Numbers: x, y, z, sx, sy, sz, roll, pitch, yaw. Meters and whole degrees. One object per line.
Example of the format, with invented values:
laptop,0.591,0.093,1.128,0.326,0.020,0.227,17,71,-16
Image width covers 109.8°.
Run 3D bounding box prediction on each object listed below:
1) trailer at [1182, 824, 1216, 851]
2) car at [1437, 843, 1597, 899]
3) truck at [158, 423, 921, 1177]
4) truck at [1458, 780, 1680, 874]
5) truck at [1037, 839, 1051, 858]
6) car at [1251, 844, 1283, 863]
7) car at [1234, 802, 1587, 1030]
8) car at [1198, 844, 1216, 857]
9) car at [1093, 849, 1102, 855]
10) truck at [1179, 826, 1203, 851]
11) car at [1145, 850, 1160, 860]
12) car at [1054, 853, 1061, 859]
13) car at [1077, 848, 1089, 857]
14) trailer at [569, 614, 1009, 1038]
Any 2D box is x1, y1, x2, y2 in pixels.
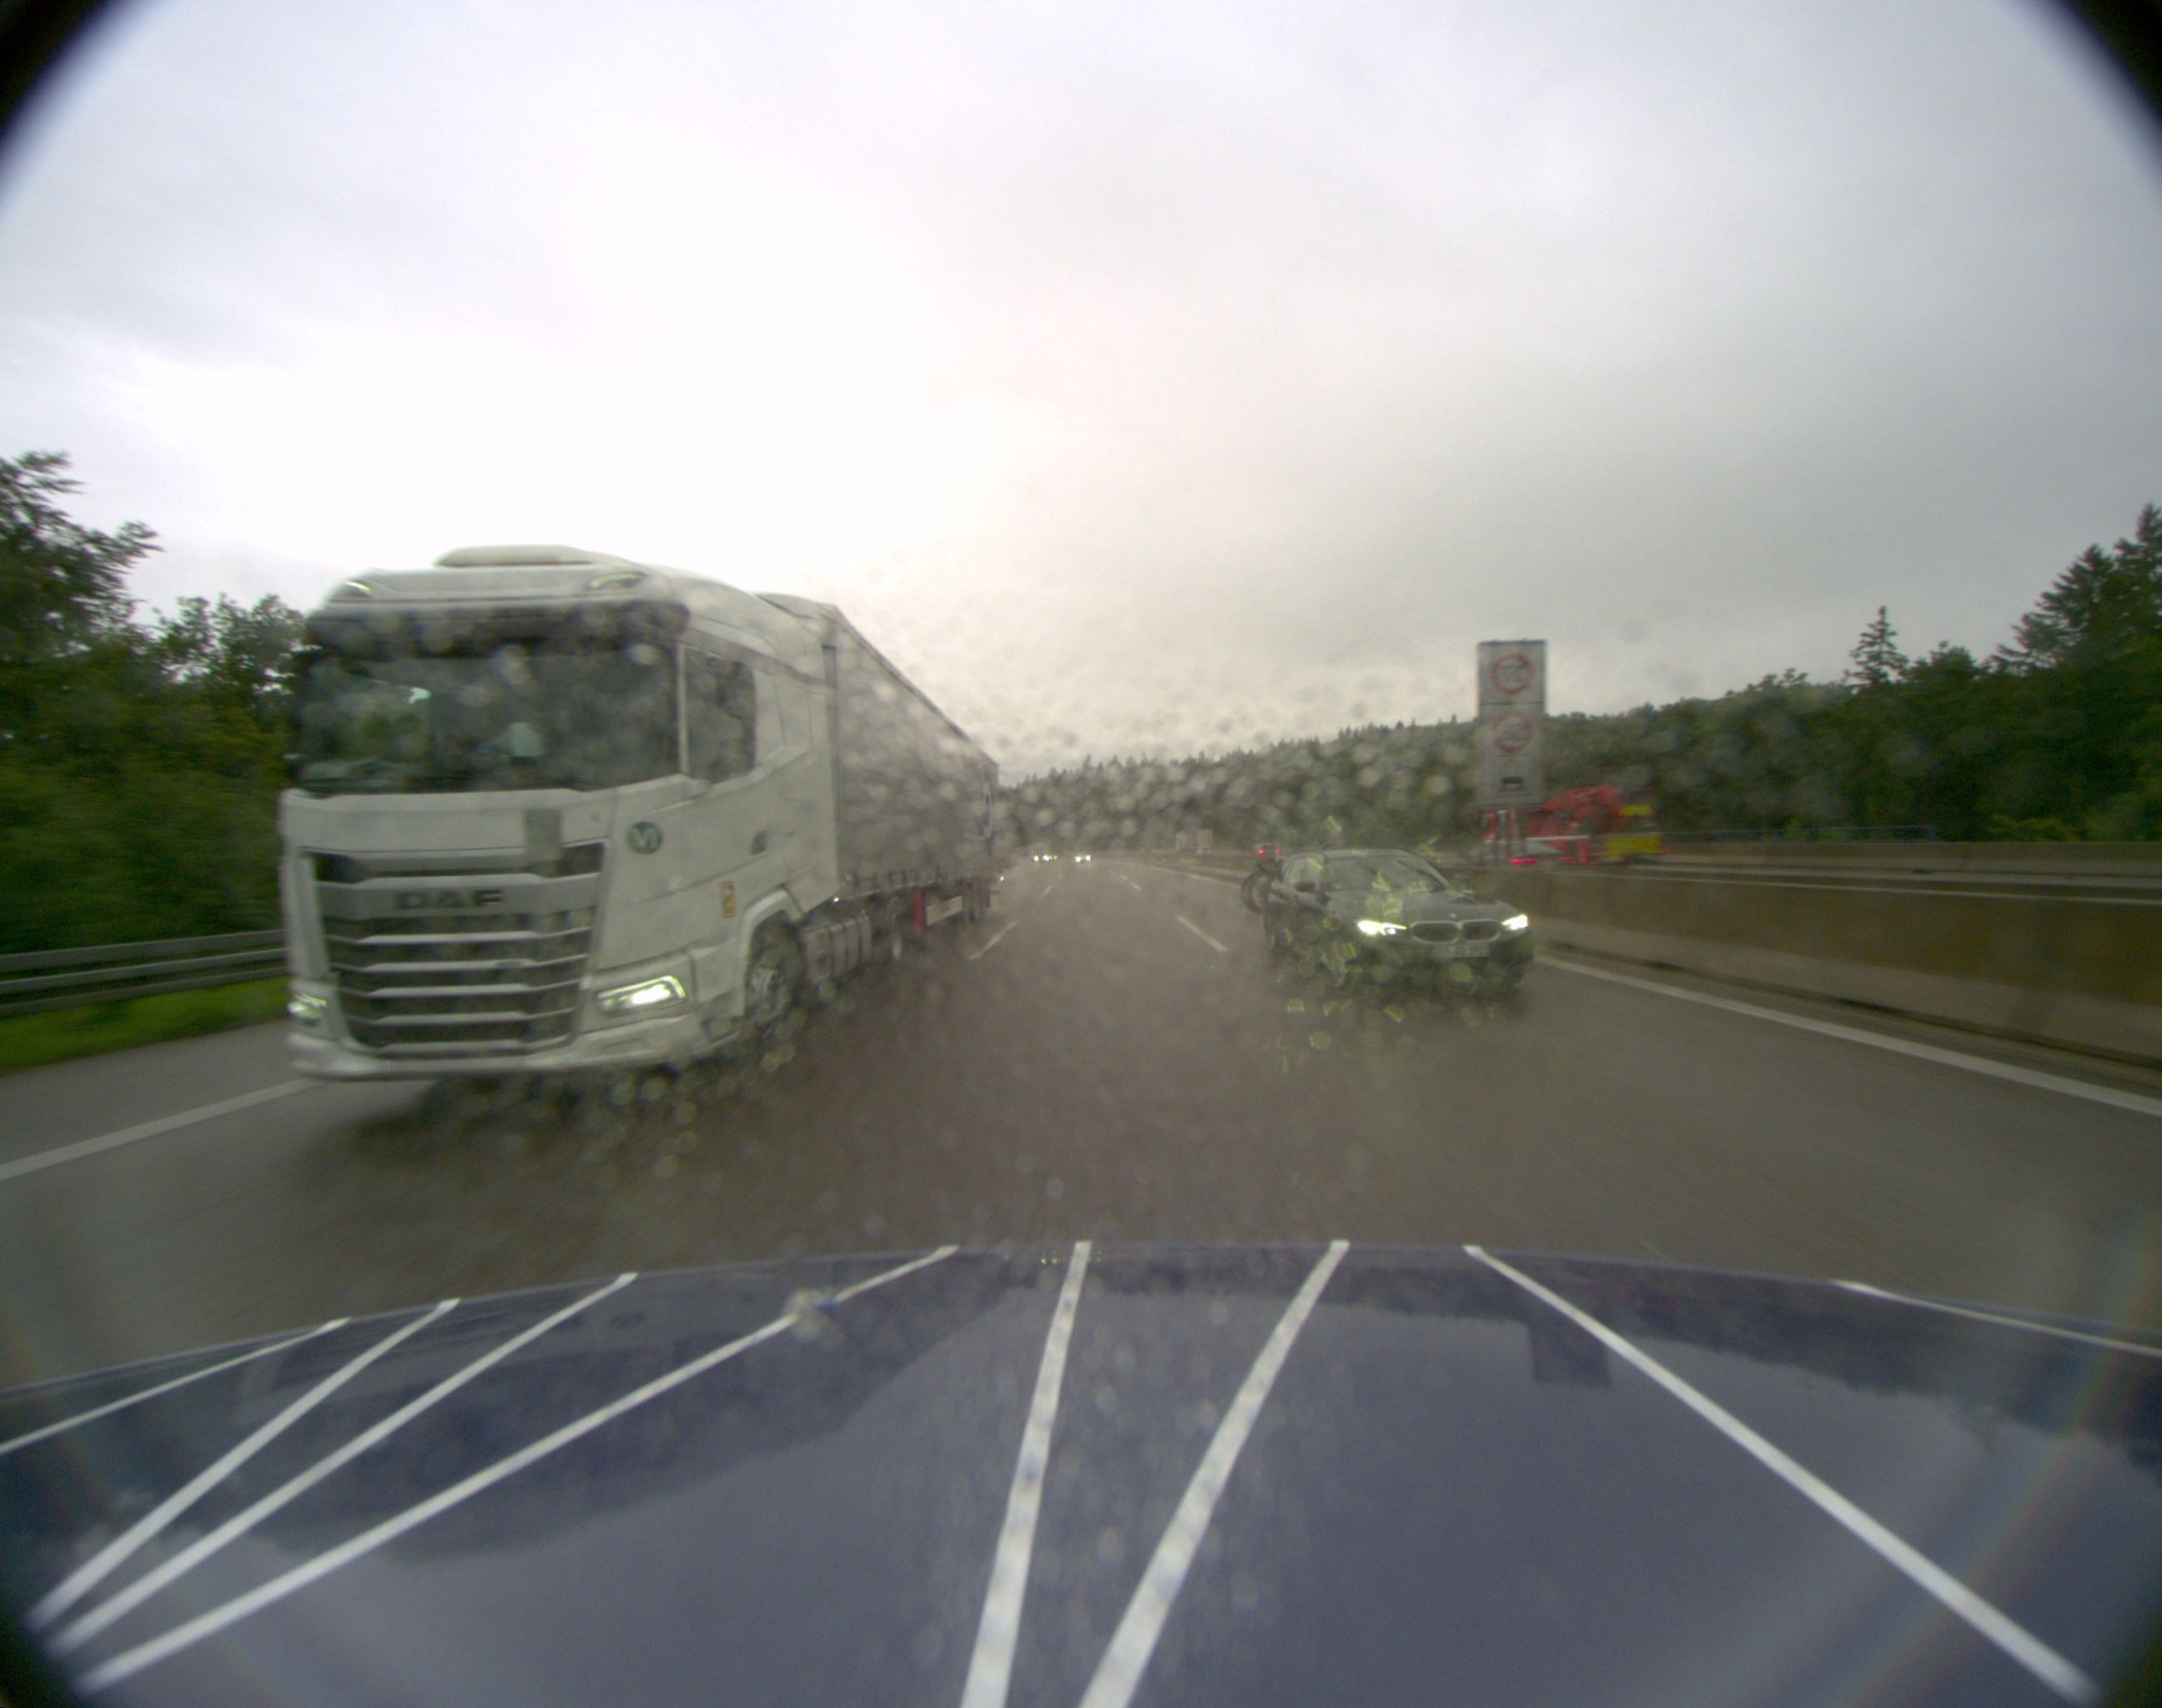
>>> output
trailer,18.668,-2.510,121.303,2.954,4.009,13.785,-3,0,-1
car,12.517,0.431,22.257,1.998,1.382,4.751,-2,0,1
truck,-3.540,-0.296,7.013,2.728,4.018,5.752,-2,1,0
truck,19.409,-0.960,31.443,2.438,3.156,10.661,-2,0,1
truck,-8.185,-1.151,167.326,2.738,4.127,8.618,-1,0,-3
car,15.977,-0.048,65.339,1.709,1.569,4.267,-2,1,1
car,3.511,0.521,9.735,1.912,1.933,6.162,-2,0,1
car,16.104,-0.452,97.358,1.661,1.512,3.638,-3,1,0
car,4.561,-0.621,210.041,1.999,1.539,4.216,-3,0,-4
truck,18.552,-2.554,128.640,2.954,4.009,6.380,-3,1,-1
car,11.630,0.174,123.957,1.890,1.539,4.777,-3,0,0
car,-5.527,0.445,177.506,1.717,1.399,4.934,-1,0,-2
car,0.278,-0.196,115.153,1.717,1.399,4.935,-1,0,-1
trailer,-3.489,-0.311,14.266,2.686,4.017,13.703,-3,0,0
